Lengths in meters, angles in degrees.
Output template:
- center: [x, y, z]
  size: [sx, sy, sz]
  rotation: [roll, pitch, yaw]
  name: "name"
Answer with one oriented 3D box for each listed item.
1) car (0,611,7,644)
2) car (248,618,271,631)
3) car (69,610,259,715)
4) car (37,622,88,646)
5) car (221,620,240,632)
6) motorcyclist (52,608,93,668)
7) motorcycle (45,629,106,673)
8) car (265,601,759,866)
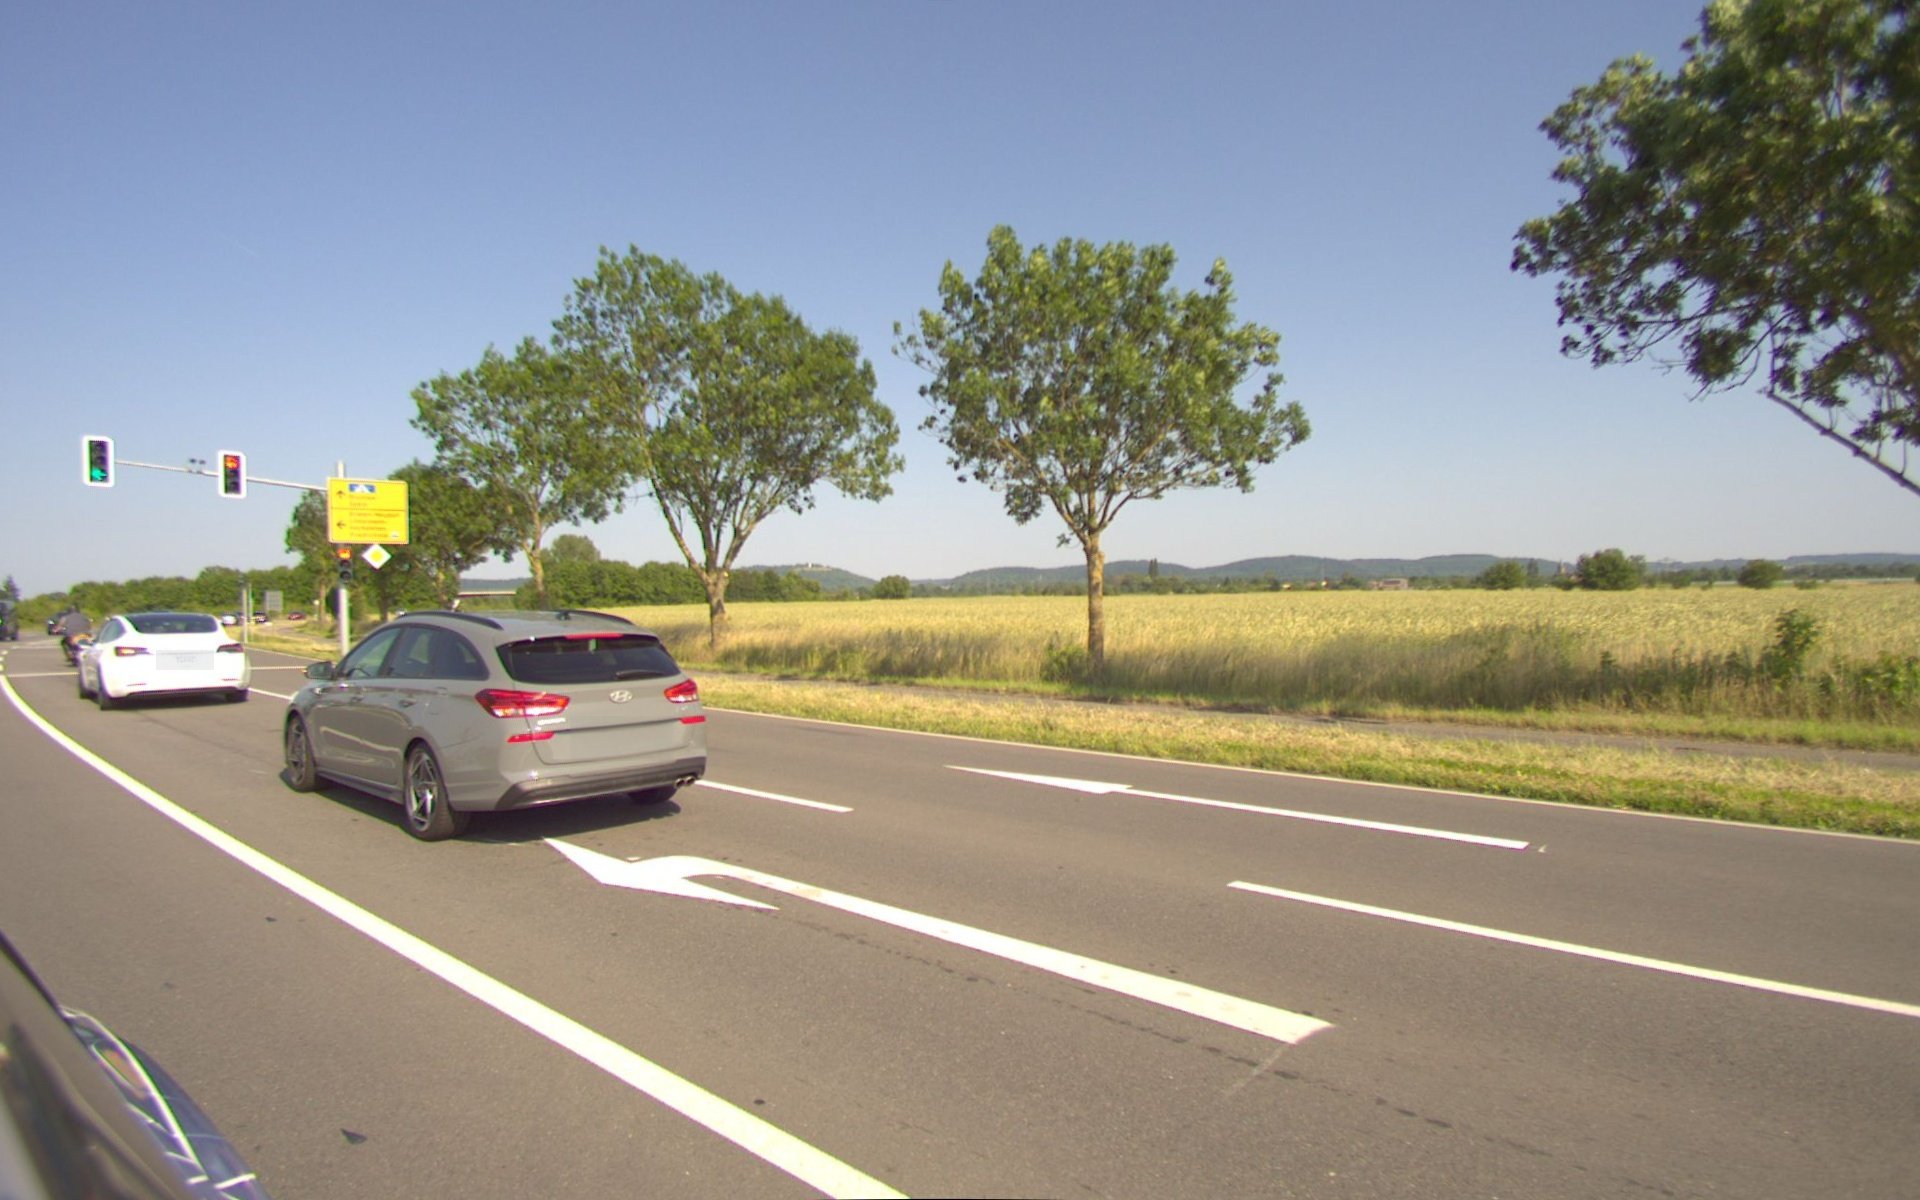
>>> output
- center: [-47.365, 1.347, 48.837]
  size: [1.834, 1.554, 4.006]
  rotation: [0, -1, -41]
  name: "car"
- center: [-91.206, 3.144, 131.742]
  size: [1.858, 1.638, 4.013]
  rotation: [2, -2, -27]
  name: "car"
- center: [-13.105, 0.924, 16.571]
  size: [4.276, 1.477, 1.869]
  rotation: [-1, -1, 44]
  name: "car"
- center: [-60.407, 2.253, 68.161]
  size: [1.831, 1.554, 4.012]
  rotation: [0, -1, -30]
  name: "car"
- center: [-80.623, 2.864, 111.853]
  size: [1.607, 1.387, 4.433]
  rotation: [2, -2, -36]
  name: "car"
- center: [-23.213, 0.973, 26.471]
  size: [1.181, 1.527, 0.671]
  rotation: [-1, -1, 42]
  name: "motorcyclist"
- center: [-22.911, 1.301, 26.201]
  size: [2.428, 1.051, 0.887]
  rotation: [-1, -1, 42]
  name: "motorcycle"
- center: [-3.620, 0.764, 7.776]
  size: [4.304, 1.472, 1.870]
  rotation: [-1, -1, 42]
  name: "car"
